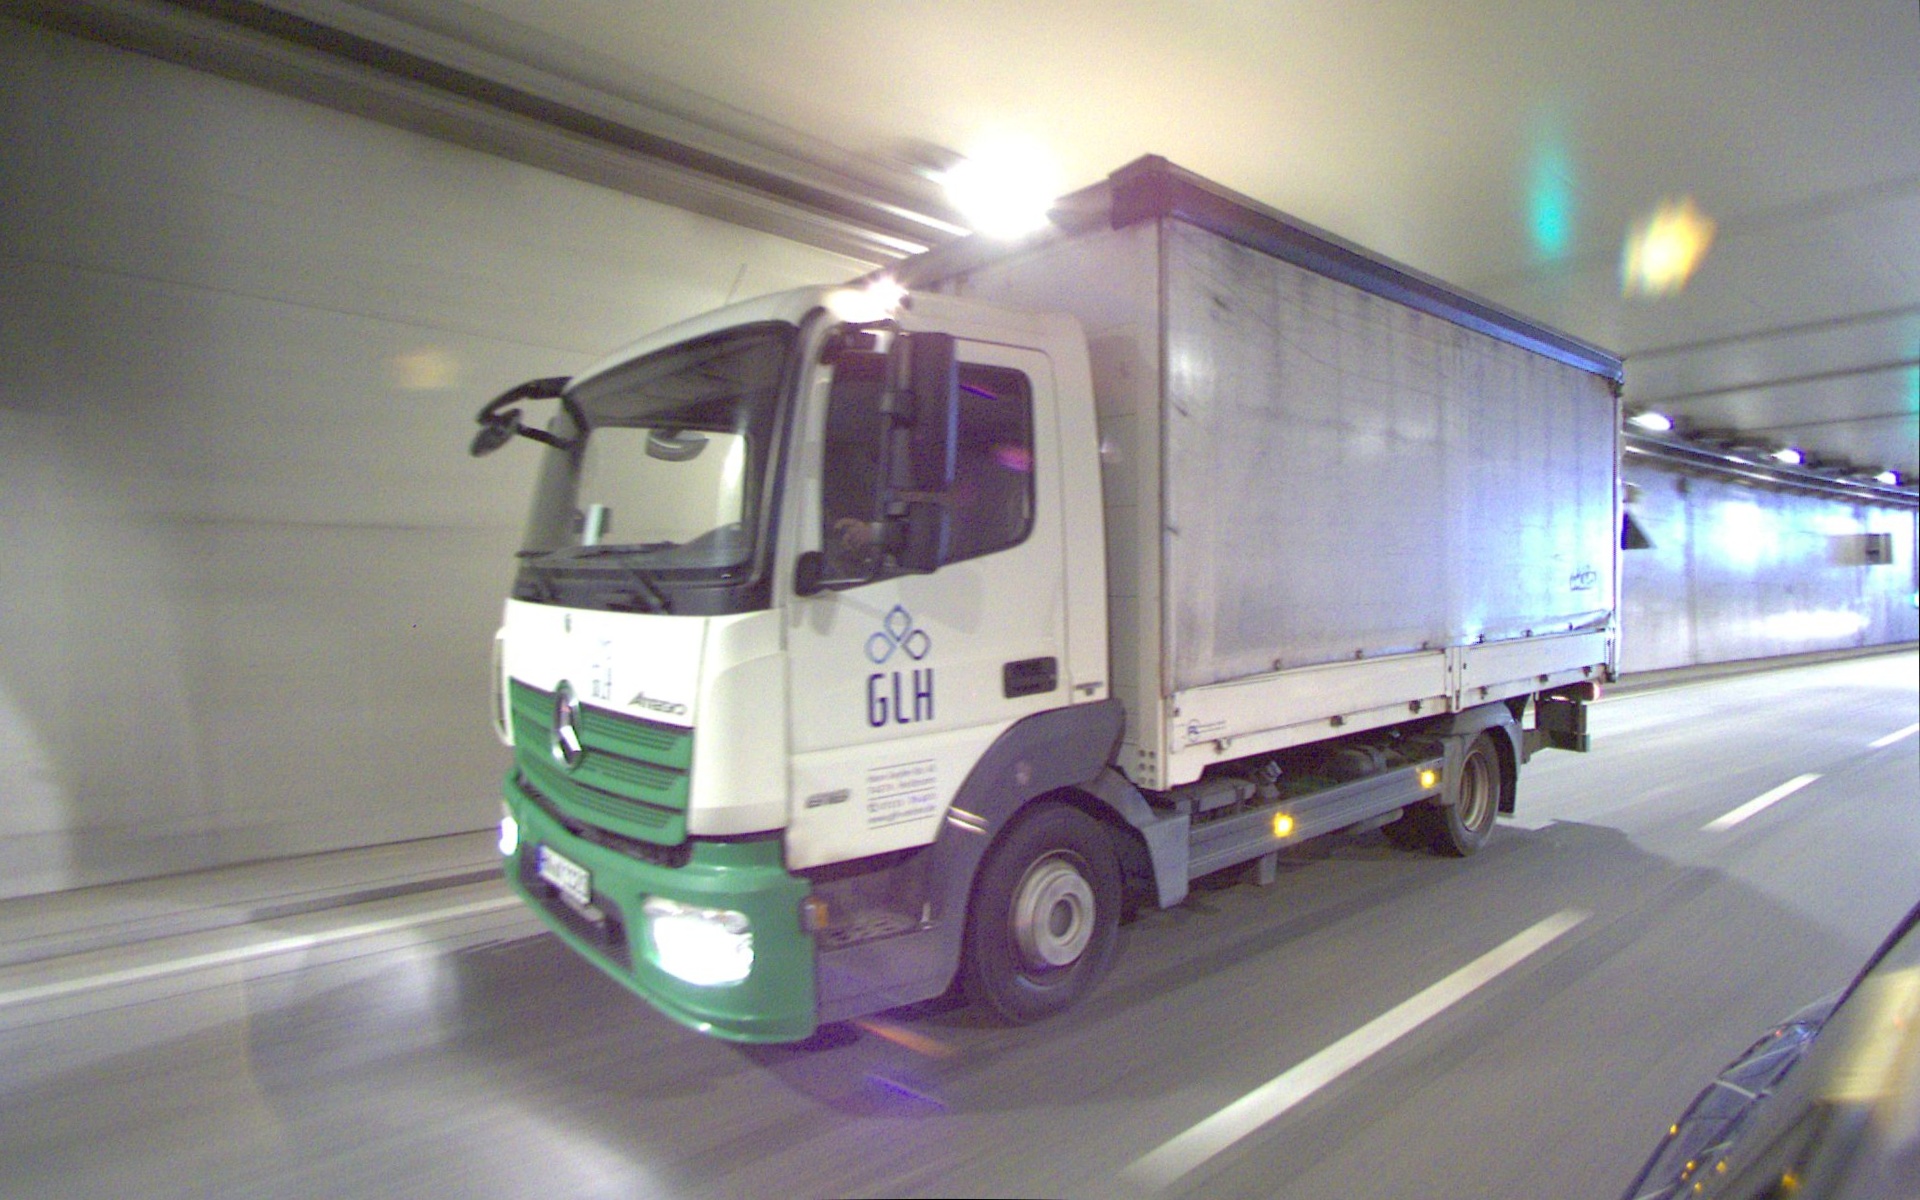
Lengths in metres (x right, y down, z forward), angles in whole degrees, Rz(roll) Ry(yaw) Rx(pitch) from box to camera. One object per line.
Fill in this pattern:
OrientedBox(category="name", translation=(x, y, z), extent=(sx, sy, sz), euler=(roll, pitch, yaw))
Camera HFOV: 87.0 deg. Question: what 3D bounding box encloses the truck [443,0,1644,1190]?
OrientedBox(category="truck", translation=(1.284, -0.214, 5.730), extent=(7.119, 3.221, 2.557), euler=(0, -1, -41))
